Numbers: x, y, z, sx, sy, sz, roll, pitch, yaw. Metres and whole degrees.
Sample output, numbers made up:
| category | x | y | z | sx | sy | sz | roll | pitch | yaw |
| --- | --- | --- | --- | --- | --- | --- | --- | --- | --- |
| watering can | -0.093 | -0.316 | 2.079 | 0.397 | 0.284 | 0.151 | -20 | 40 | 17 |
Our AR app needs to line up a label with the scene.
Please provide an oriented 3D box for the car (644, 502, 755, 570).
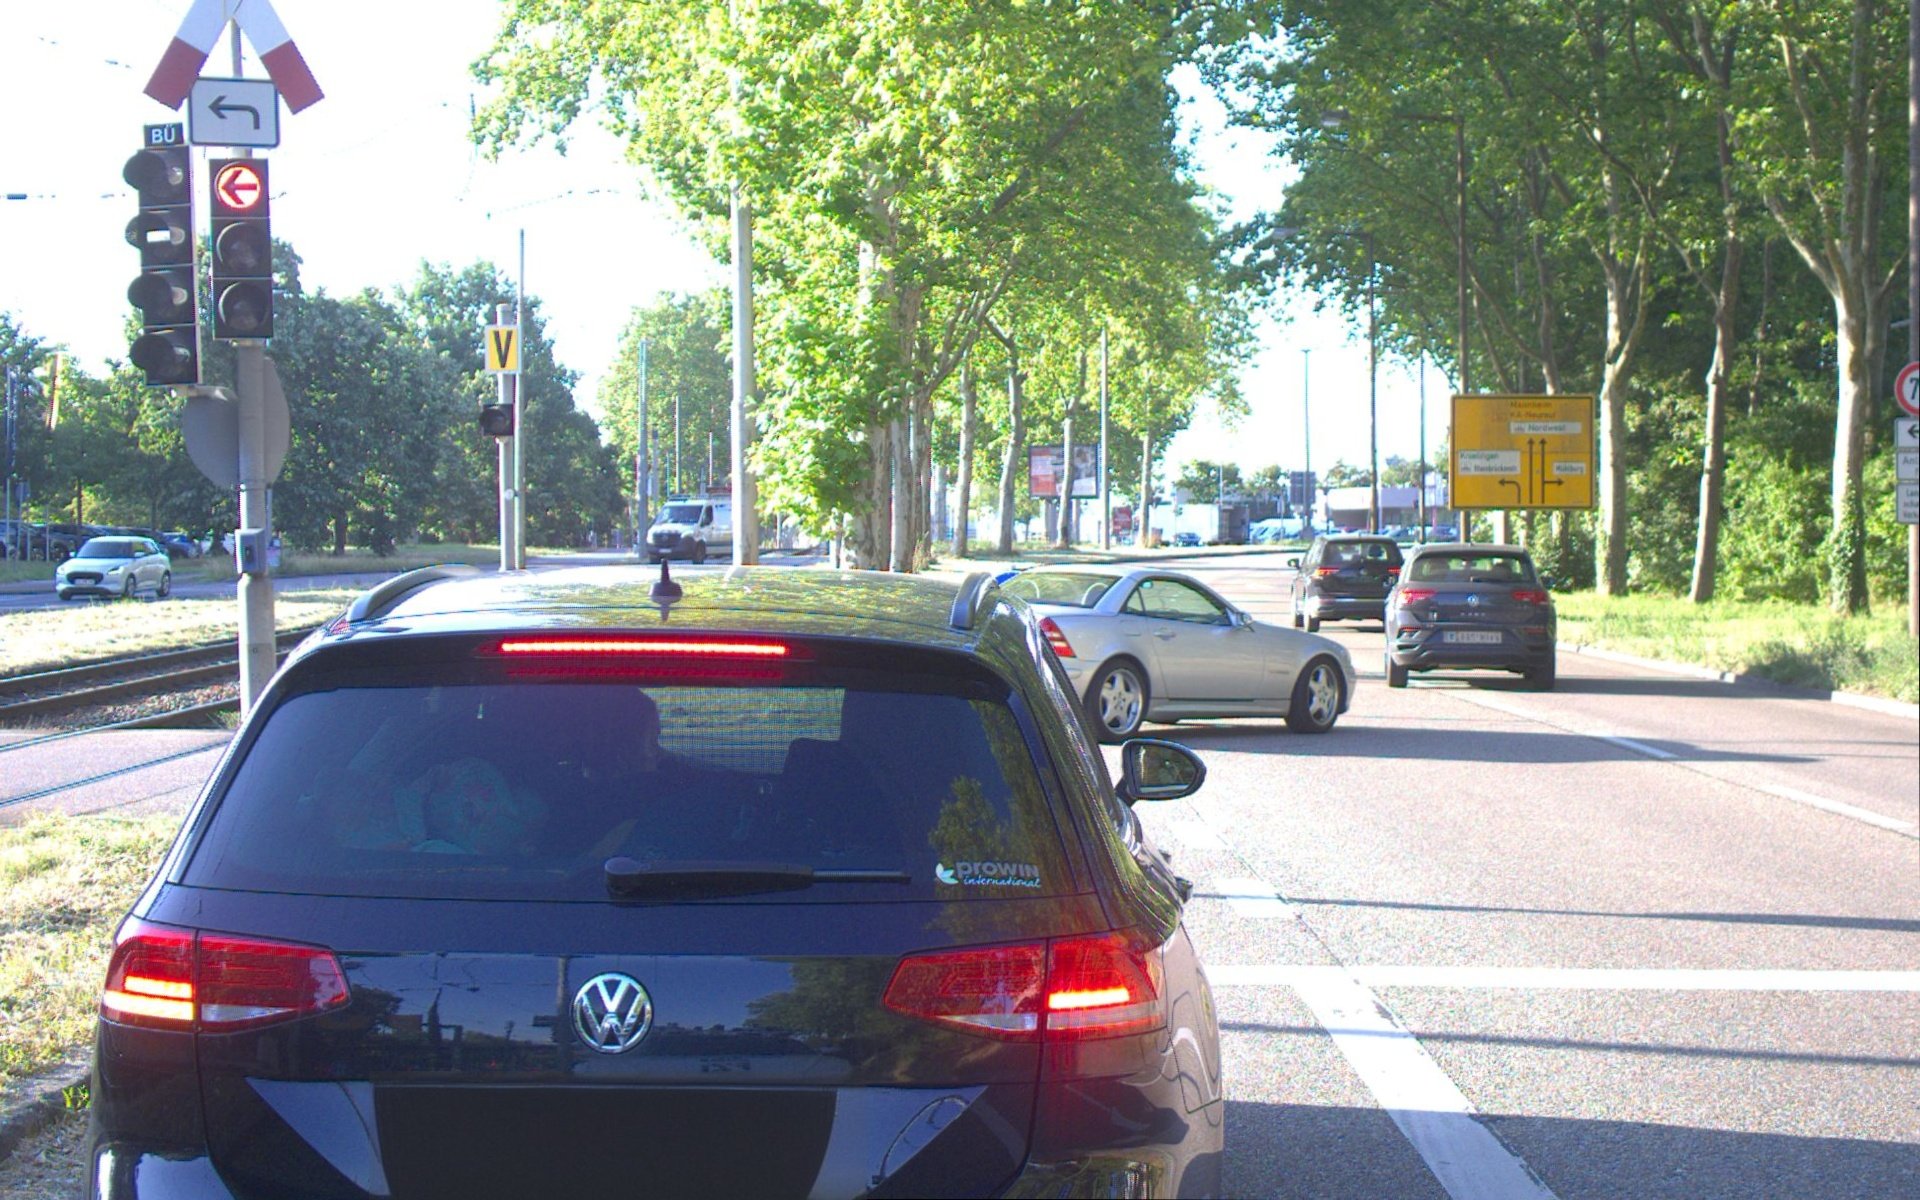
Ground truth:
| category | x | y | z | sx | sy | sz | roll | pitch | yaw |
| --- | --- | --- | --- | --- | --- | --- | --- | --- | --- |
| car | -9.727 | -2.418 | 128.853 | 2.097 | 2.453 | 5.848 | 1 | 1 | 17 |

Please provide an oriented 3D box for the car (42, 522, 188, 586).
| category | x | y | z | sx | sy | sz | roll | pitch | yaw |
| --- | --- | --- | --- | --- | --- | --- | --- | --- | --- |
| car | -20.342 | -1.126 | 82.940 | 1.863 | 1.476 | 4.090 | 1 | 1 | 11 |

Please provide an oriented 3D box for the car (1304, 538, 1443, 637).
| category | x | y | z | sx | sy | sz | roll | pitch | yaw |
| --- | --- | --- | --- | --- | --- | --- | --- | --- | --- |
| car | 6.987 | -0.233 | 58.438 | 1.872 | 1.629 | 4.370 | 0 | 1 | 1 |

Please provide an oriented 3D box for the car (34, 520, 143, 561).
| category | x | y | z | sx | sy | sz | roll | pitch | yaw |
| --- | --- | --- | --- | --- | --- | --- | --- | --- | --- |
| car | -35.159 | -2.407 | 138.756 | 3.986 | 1.615 | 1.744 | 1 | 1 | -5 |

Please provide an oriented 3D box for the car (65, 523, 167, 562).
| category | x | y | z | sx | sy | sz | roll | pitch | yaw |
| --- | --- | --- | --- | --- | --- | --- | --- | --- | --- |
| car | -35.816 | -2.449 | 145.913 | 3.986 | 1.615 | 1.744 | 1 | 1 | -5 |

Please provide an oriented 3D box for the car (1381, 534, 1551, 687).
| category | x | y | z | sx | sy | sz | roll | pitch | yaw |
| --- | --- | --- | --- | --- | --- | --- | --- | --- | --- |
| car | 5.508 | 0.066 | 37.486 | 1.708 | 1.555 | 4.165 | 1 | 1 | 8 |

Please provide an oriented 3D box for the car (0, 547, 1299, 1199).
| category | x | y | z | sx | sy | sz | roll | pitch | yaw |
| --- | --- | --- | --- | --- | --- | --- | --- | --- | --- |
| car | -0.482 | 0.646 | 6.414 | 1.795 | 1.459 | 3.583 | 1 | 1 | -1 |

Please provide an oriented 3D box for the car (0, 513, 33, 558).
| category | x | y | z | sx | sy | sz | roll | pitch | yaw |
| --- | --- | --- | --- | --- | --- | --- | --- | --- | --- |
| car | -35.910 | -2.356 | 125.008 | 3.986 | 1.615 | 1.744 | 1 | 1 | -5 |

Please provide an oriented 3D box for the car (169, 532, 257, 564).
| category | x | y | z | sx | sy | sz | roll | pitch | yaw |
| --- | --- | --- | --- | --- | --- | --- | --- | --- | --- |
| car | -36.499 | -2.539 | 167.989 | 3.986 | 1.550 | 1.744 | 1 | 1 | -4 |

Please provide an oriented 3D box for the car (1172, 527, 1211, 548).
| category | x | y | z | sx | sy | sz | roll | pitch | yaw |
| --- | --- | --- | --- | --- | --- | --- | --- | --- | --- |
| car | 15.809 | -4.287 | 234.805 | 1.993 | 1.415 | 4.001 | 1 | 1 | -6 |

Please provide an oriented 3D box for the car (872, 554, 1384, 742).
| category | x | y | z | sx | sy | sz | roll | pitch | yaw |
| --- | --- | --- | --- | --- | --- | --- | --- | --- | --- |
| car | 1.338 | 0.324 | 26.078 | 1.613 | 1.290 | 3.972 | 2 | 2 | 45 |
